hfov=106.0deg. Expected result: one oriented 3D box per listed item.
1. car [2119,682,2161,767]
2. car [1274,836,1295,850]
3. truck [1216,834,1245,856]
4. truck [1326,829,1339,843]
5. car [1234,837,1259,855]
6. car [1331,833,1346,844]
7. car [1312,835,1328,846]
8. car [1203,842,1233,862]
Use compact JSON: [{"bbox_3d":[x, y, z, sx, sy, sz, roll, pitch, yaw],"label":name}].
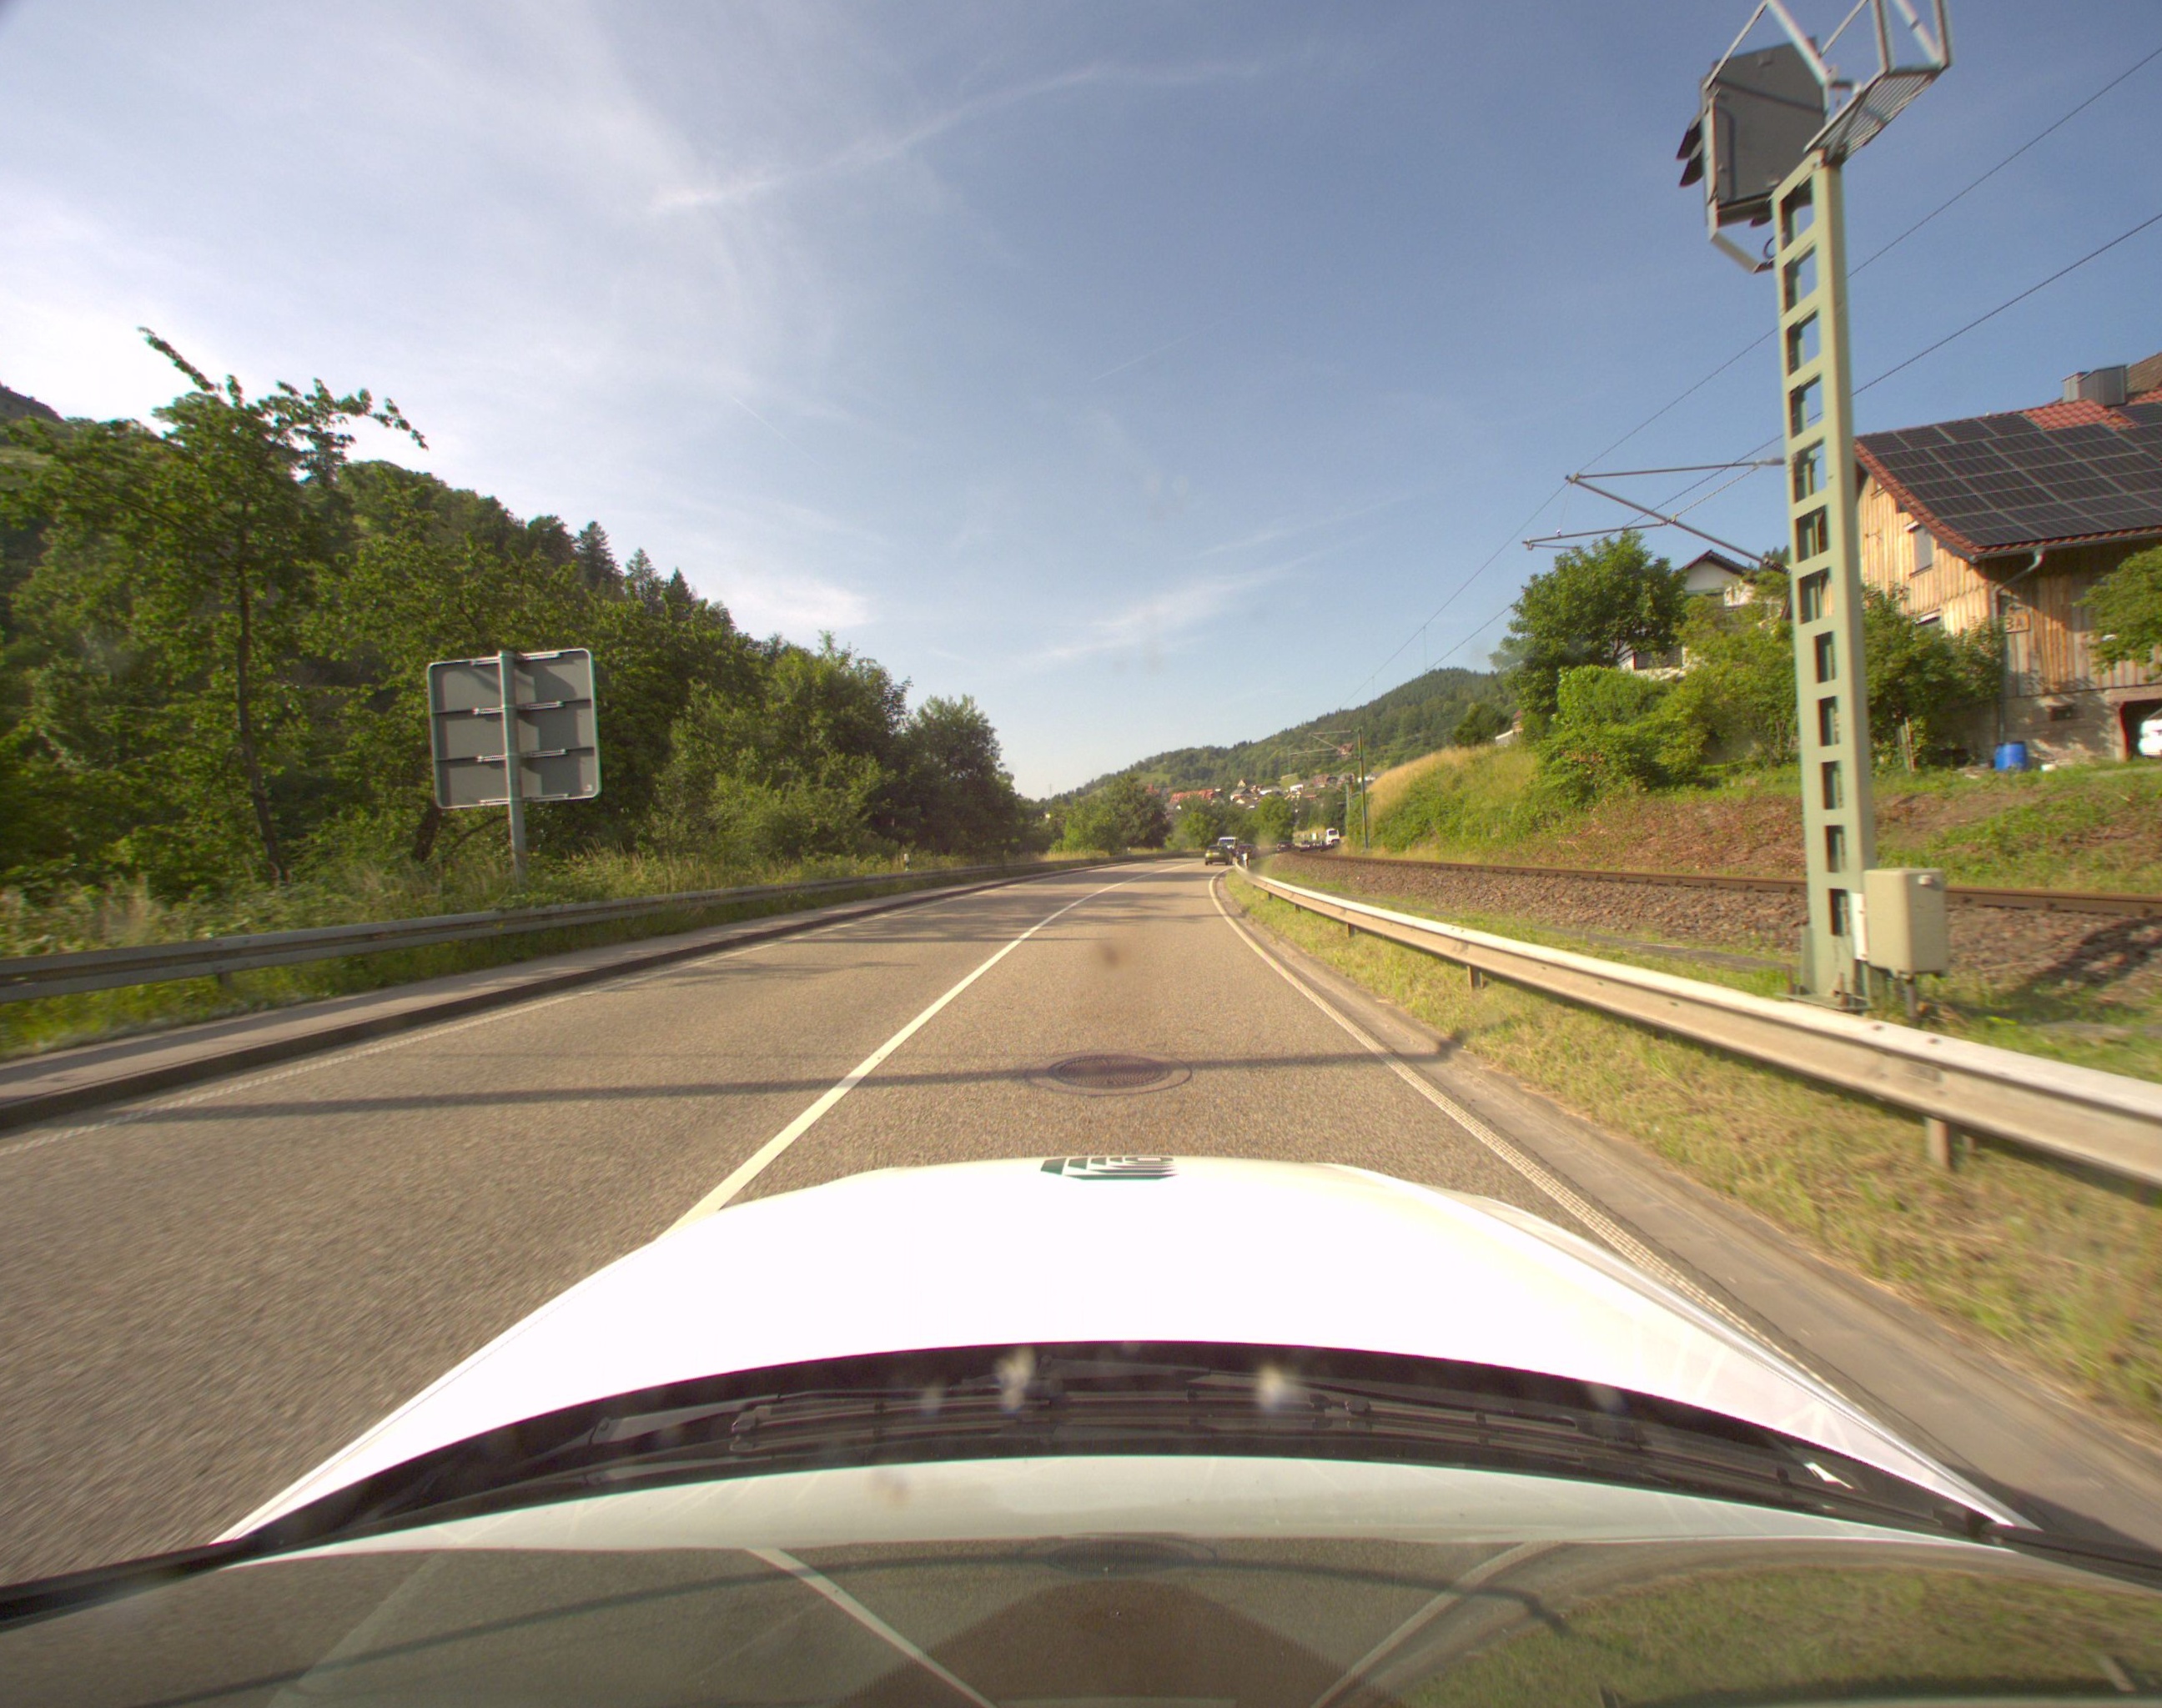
[{"bbox_3d":[23.637,-2.659,15.586,4.421,1.583,1.784,-1,-1,17],"label":"car"},{"bbox_3d":[25.897,-1.443,103.659,1.863,1.686,4.023,-2,0,24],"label":"car"},{"bbox_3d":[17.048,-1.021,92.676,2.139,2.365,6.780,0,1,20],"label":"truck"},{"bbox_3d":[57.392,-4.192,185.694,2.691,3.083,6.134,-1,1,15],"label":"truck"},{"bbox_3d":[15.776,-0.775,77.535,1.653,1.559,4.021,-2,0,21],"label":"car"},{"bbox_3d":[48.409,-2.909,153.088,2.044,1.811,4.024,-2,1,26],"label":"car"},{"bbox_3d":[37.193,-2.113,126.568,1.832,1.527,3.684,-2,0,25],"label":"car"},{"bbox_3d":[10.227,-0.168,60.633,1.702,1.455,4.017,0,1,16],"label":"car"}]
